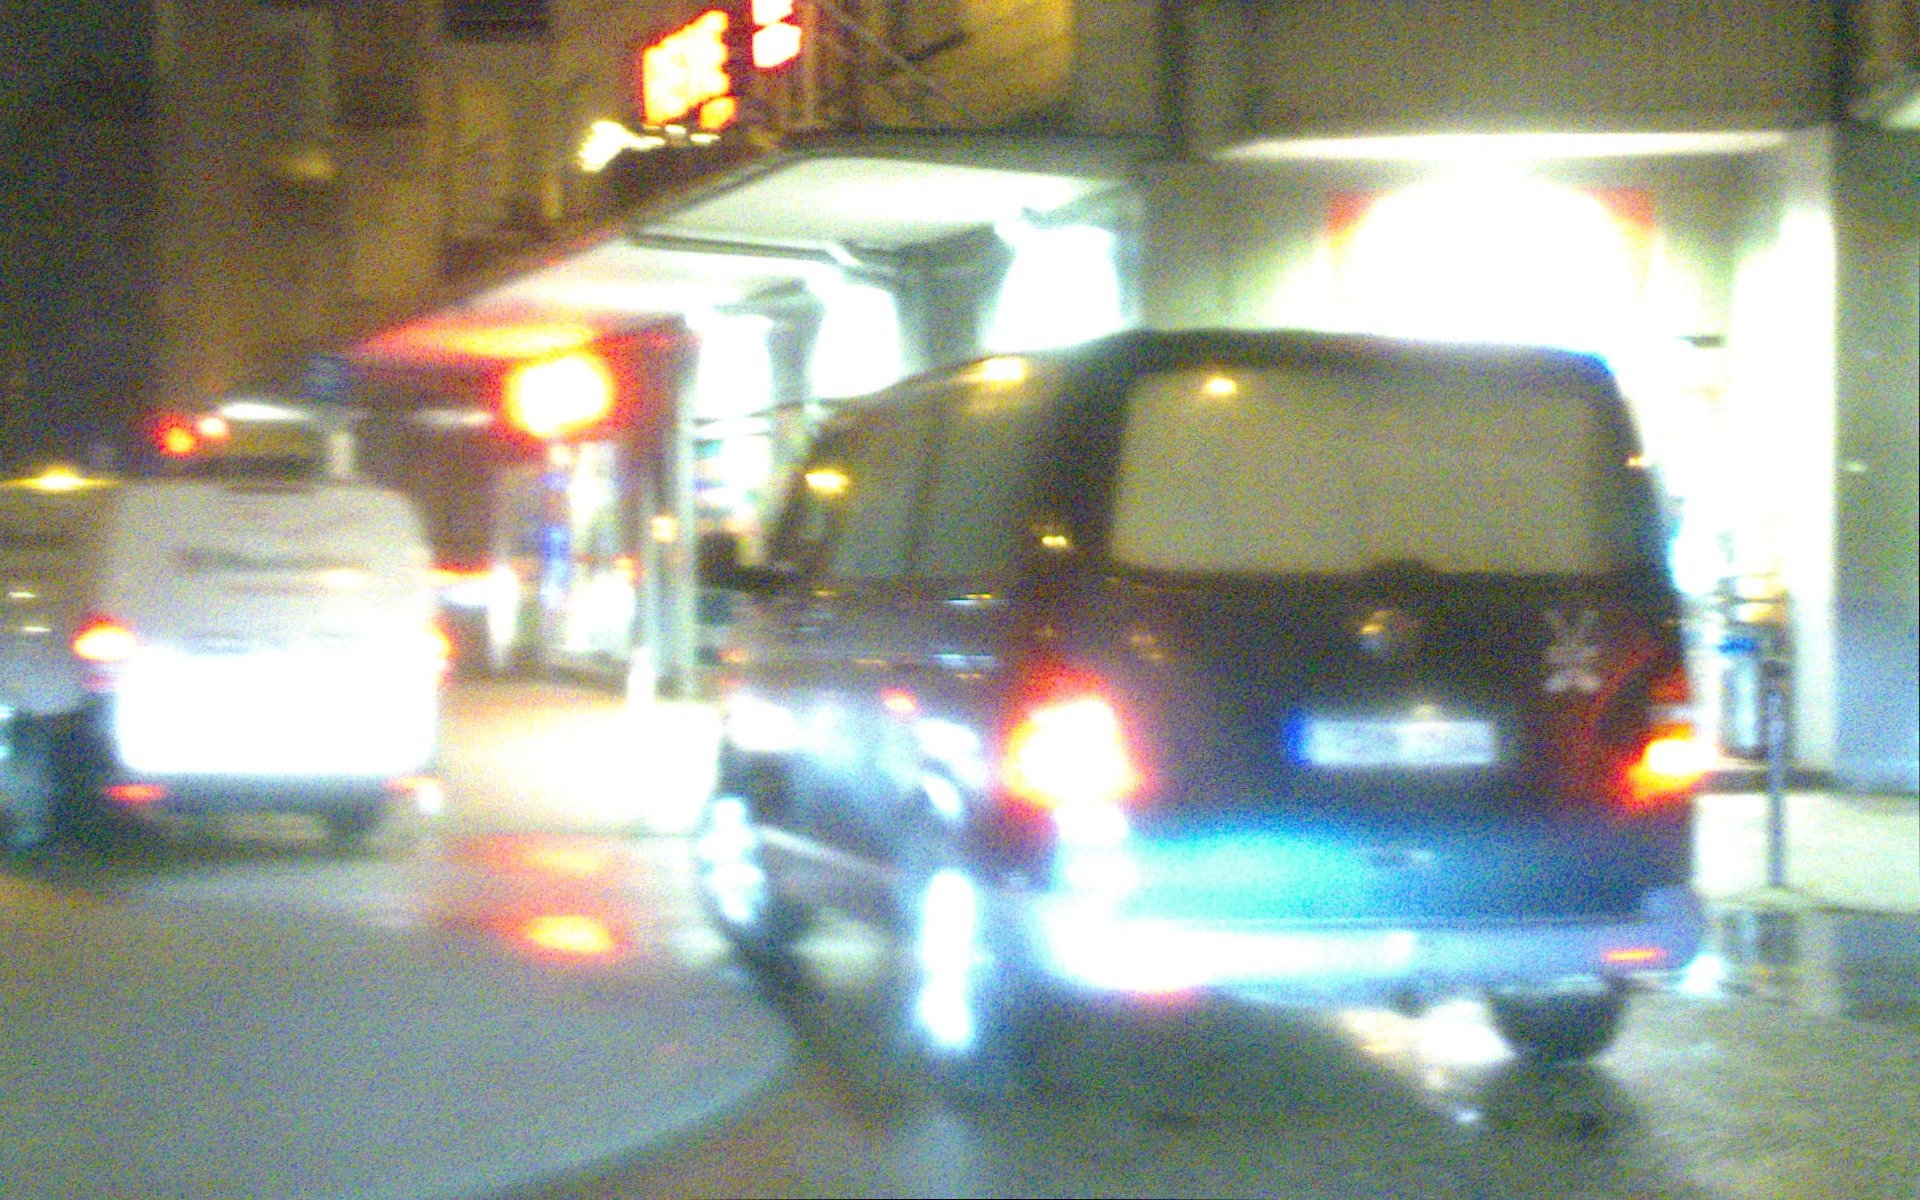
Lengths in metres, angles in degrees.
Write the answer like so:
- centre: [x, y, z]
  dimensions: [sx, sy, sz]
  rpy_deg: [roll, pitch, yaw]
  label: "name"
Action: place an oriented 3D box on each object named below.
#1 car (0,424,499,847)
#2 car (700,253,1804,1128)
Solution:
- centre: [-4.551, 0.117, 18.167]
  dimensions: [2.123, 1.916, 4.825]
  rpy_deg: [0, 1, -36]
  label: "car"
- centre: [0.537, 0.177, 10.247]
  dimensions: [2.122, 1.984, 4.602]
  rpy_deg: [0, 1, -11]
  label: "car"
